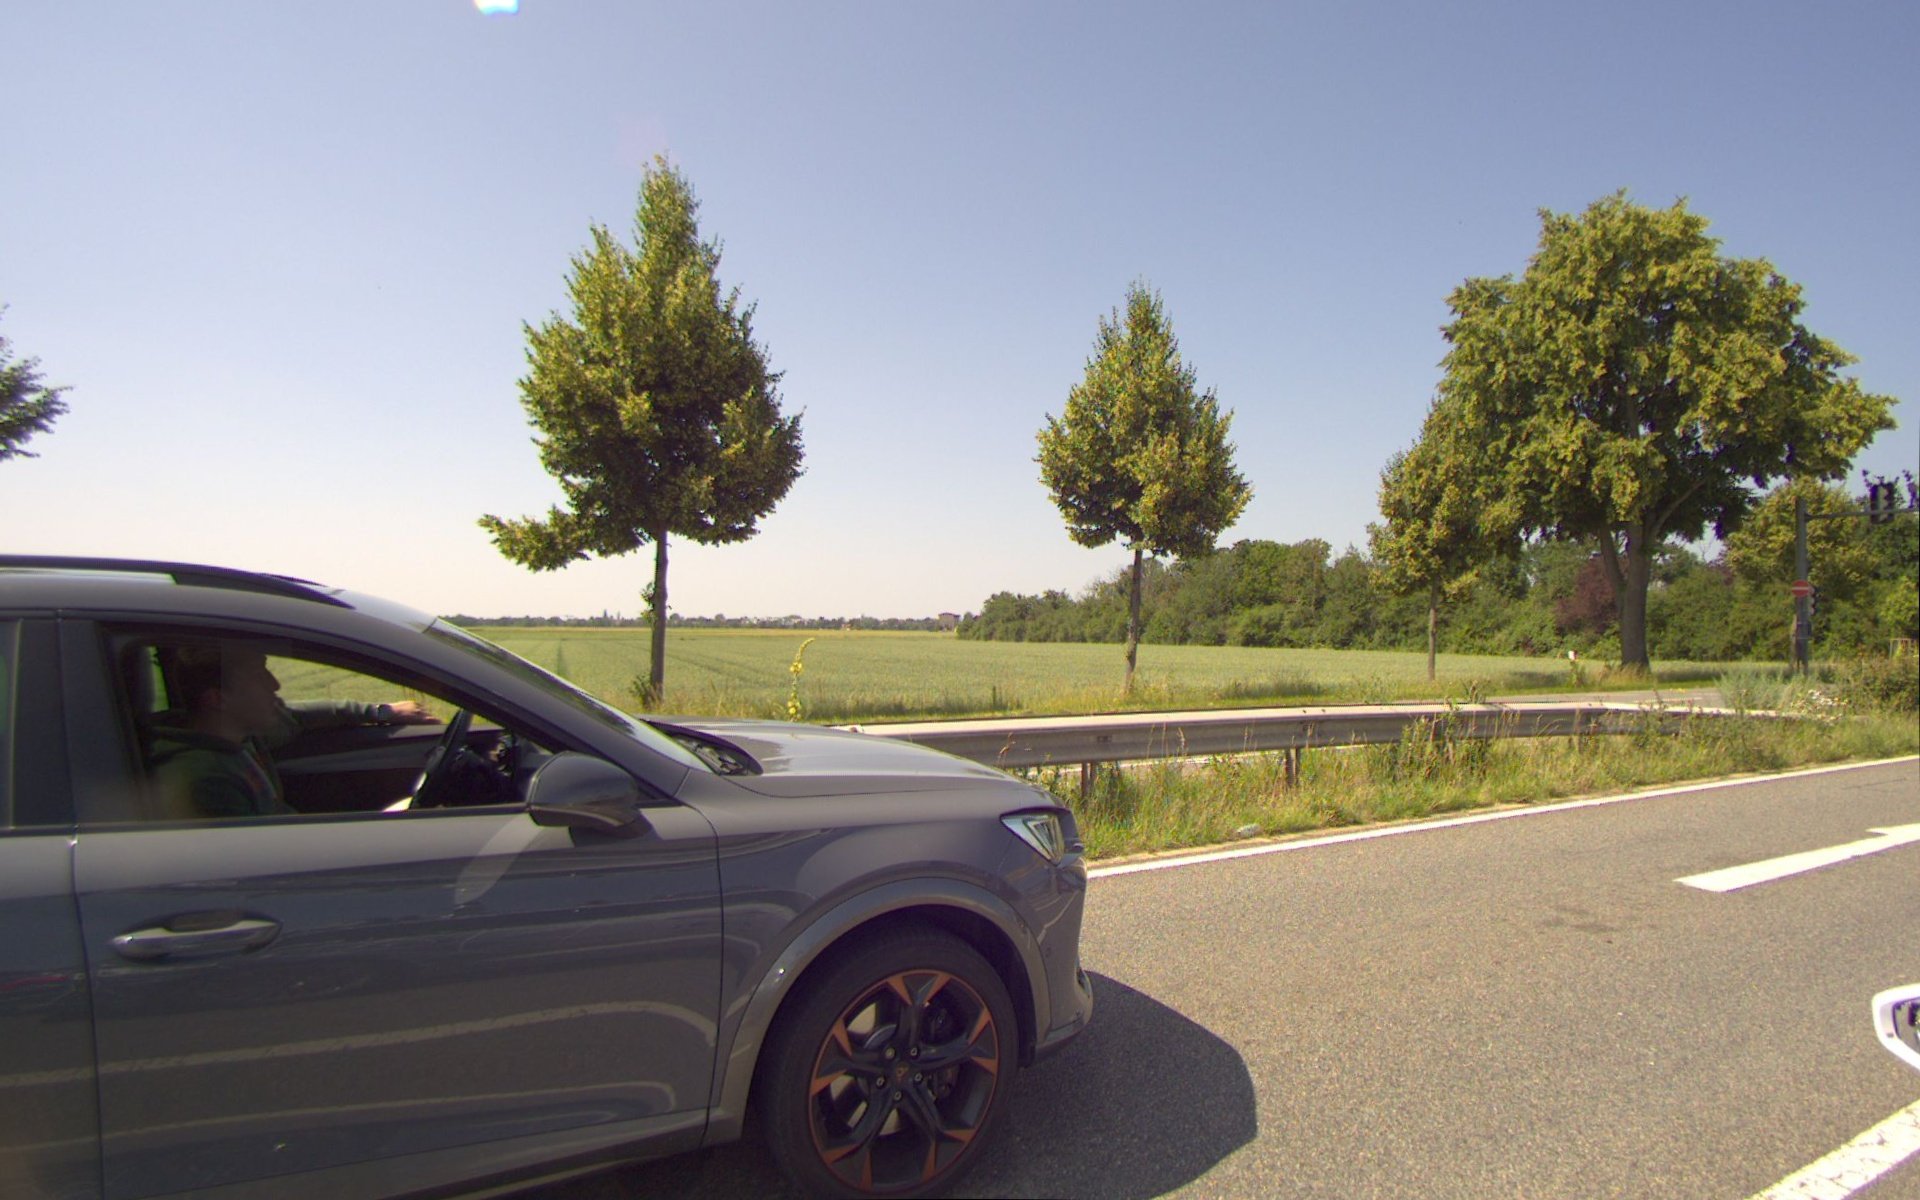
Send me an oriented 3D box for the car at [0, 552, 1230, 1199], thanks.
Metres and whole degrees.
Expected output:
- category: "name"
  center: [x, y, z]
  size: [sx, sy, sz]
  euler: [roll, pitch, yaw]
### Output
- category: "car"
  center: [-1.544, 0.688, 2.525]
  size: [4.310, 1.523, 1.738]
  euler: [1, 0, -29]
